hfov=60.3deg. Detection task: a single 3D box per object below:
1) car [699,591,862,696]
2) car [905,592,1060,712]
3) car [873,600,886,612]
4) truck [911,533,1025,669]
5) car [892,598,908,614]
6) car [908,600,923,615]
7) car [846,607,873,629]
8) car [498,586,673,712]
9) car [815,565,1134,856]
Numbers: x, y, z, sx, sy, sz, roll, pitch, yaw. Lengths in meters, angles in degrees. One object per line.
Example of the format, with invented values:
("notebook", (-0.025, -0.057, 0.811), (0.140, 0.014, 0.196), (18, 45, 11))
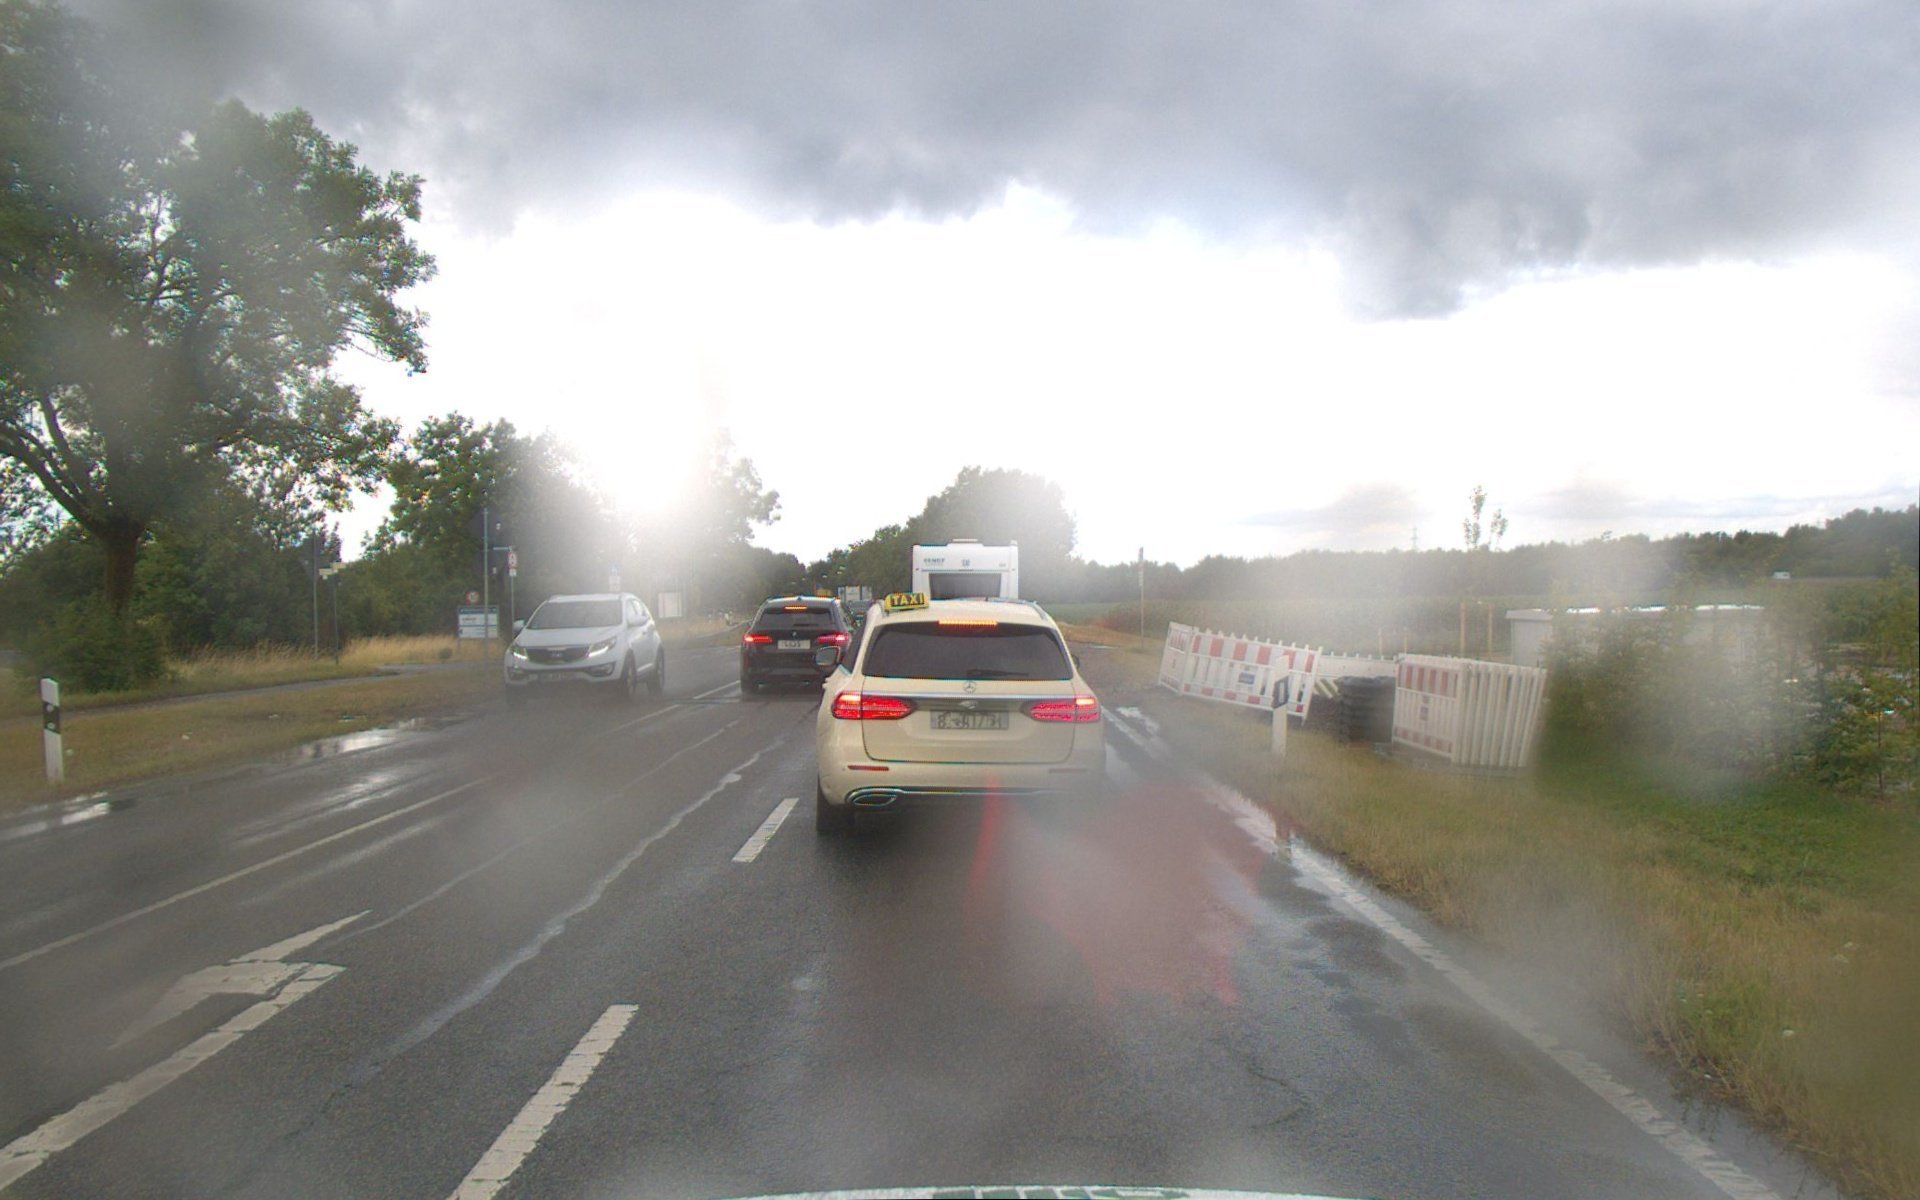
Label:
("car", (-2.869, 0.676, 27.509), (2.255, 1.574, 4.631), (1, 0, -1))
("car", (0.262, 0.670, 23.015), (1.953, 1.488, 3.999), (1, 0, -1))
("car", (-12.474, 0.966, 256.675), (1.857, 1.872, 3.881), (-1, 0, -1))
("truck", (0.111, 0.014, 37.978), (2.315, 2.776, 7.313), (-1, 0, -1))
("car", (-7.617, 0.720, 208.310), (1.858, 1.928, 3.840), (-1, 0, -4))
("car", (-4.872, 0.842, 182.158), (1.648, 1.578, 3.752), (1, 0, -1))
("car", (-6.943, 1.246, 114.312), (1.685, 1.429, 4.042), (-3, 0, -2))
("car", (-5.679, 0.691, 25.544), (1.669, 1.700, 4.155), (-3, 0, 0))
("car", (0.056, 0.632, 11.373), (1.805, 1.646, 3.999), (0, 0, -1))
